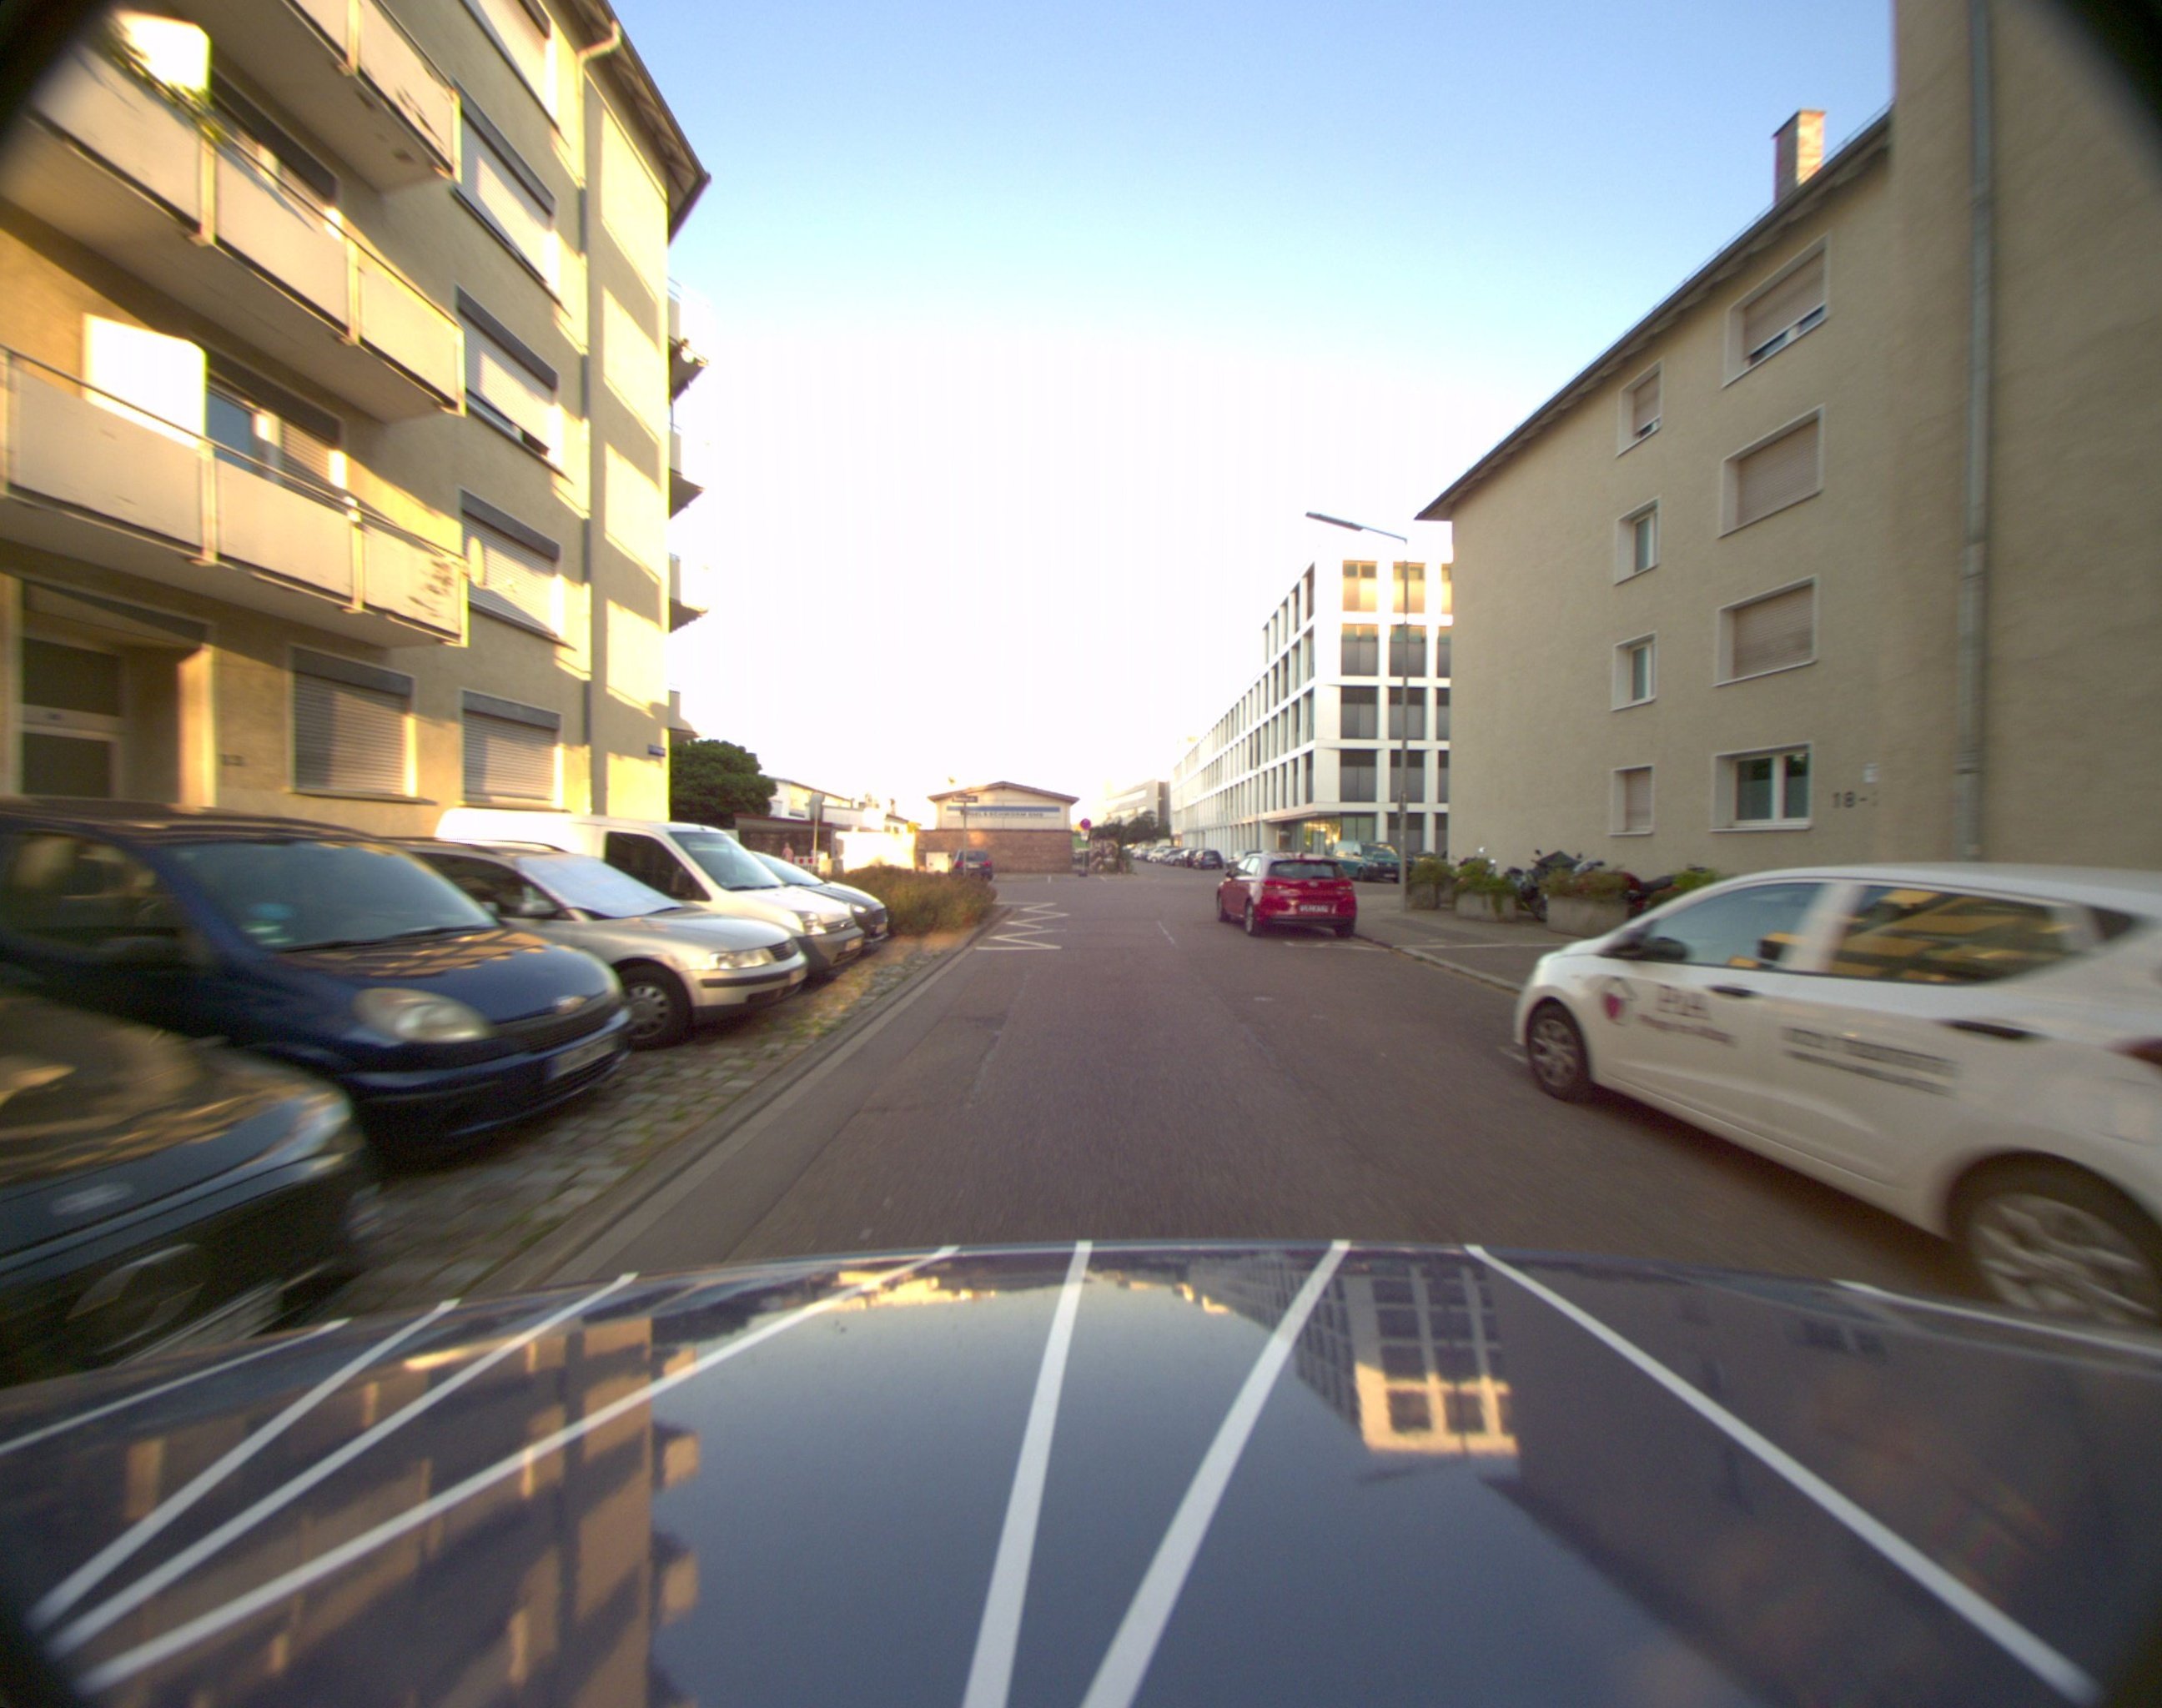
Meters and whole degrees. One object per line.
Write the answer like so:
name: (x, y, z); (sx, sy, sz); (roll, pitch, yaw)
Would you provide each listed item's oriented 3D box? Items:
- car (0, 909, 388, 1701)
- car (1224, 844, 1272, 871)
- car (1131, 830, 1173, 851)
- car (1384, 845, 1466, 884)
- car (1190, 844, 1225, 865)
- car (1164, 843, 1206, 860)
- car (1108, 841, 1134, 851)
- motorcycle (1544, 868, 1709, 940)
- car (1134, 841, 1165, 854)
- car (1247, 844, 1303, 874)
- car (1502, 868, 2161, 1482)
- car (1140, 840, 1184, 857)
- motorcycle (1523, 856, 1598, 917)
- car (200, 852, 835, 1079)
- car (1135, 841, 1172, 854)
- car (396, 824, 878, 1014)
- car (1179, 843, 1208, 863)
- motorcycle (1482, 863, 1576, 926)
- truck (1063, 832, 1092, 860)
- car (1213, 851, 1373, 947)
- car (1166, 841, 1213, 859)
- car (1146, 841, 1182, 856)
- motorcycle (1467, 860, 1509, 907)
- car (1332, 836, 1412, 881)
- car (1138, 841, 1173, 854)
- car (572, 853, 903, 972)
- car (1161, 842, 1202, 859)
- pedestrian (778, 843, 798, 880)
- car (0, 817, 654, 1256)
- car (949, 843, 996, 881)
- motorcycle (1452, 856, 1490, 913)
car: (-4.262, 0.872, 1.499); (4.319, 1.441, 1.655); (2, 2, 1)
car: (10.252, 0.158, 46.953); (1.715, 1.470, 4.182); (-3, 1, -5)
car: (9.337, -1.807, 99.903); (5.394, 2.618, 2.078); (-1, 1, 1)
car: (16.191, 0.431, 36.011); (1.784, 1.541, 4.327); (0, 3, -2)
car: (9.358, 0.021, 56.537); (1.652, 1.430, 4.182); (-3, 1, -3)
car: (9.457, -0.271, 69.224); (3.664, 1.502, 1.687); (-1, 1, 0)
car: (8.107, -1.630, 154.694); (5.084, 1.870, 1.888); (-1, 1, -7)
motorcycle: (8.896, 0.798, 12.460); (2.127, 1.099, 0.561); (1, 2, 12)
car: (8.558, -0.803, 95.324); (3.717, 1.487, 1.707); (-1, 1, -1)
car: (10.456, 0.237, 41.348); (1.784, 1.470, 4.329); (-1, 1, -2)
car: (3.621, 0.890, 3.250); (1.620, 1.465, 3.503); (2, 1, 0)
car: (8.687, -0.576, 81.560); (4.629, 1.696, 2.004); (-1, 1, 3)
motorcycle: (10.850, 0.702, 17.286); (0.724, 1.257, 2.082); (1, 1, 12)
car: (-4.302, 0.788, 6.264); (3.965, 1.513, 1.705); (1, 1, 1)
car: (8.843, -0.831, 92.645); (4.318, 1.487, 1.794); (-1, 1, 1)
car: (-4.630, 0.618, 8.392); (4.290, 1.850, 1.741); (0, 2, 1)
car: (9.257, -0.123, 62.642); (1.652, 1.430, 4.200); (-3, 1, -1)
motorcycle: (8.641, 0.751, 14.770); (0.683, 1.073, 2.034); (0, 1, 2)
truck: (-0.319, -0.604, 62.014); (2.103, 2.187, 5.709); (1, 0, -2)
car: (3.801, 0.726, 14.417); (1.850, 1.465, 4.077); (1, 1, 0)
car: (9.487, -0.337, 66.541); (3.936, 1.502, 1.687); (-1, 1, 1)
car: (8.580, -0.526, 78.978); (3.675, 1.502, 1.696); (-1, 1, 3)
motorcycle: (10.417, 0.719, 19.504); (0.724, 1.073, 2.084); (1, 2, 22)
car: (13.719, 0.138, 36.193); (1.803, 1.969, 4.686); (0, 2, -3)
car: (8.583, -0.767, 87.583); (3.791, 1.513, 1.693); (-1, 1, -2)
car: (-4.684, 0.758, 10.761); (3.881, 1.484, 1.741); (0, 2, 1)
car: (9.451, -0.337, 71.494); (3.664, 1.502, 1.687); (-1, 1, 0)
pedestrian: (-12.975, 0.331, 33.659); (0.787, 1.655, 0.628); (0, 0, -23)
car: (-4.583, 0.707, 3.935); (3.800, 1.686, 1.655); (2, 2, 1)
car: (-5.140, 0.311, 35.470); (1.833, 1.523, 4.721); (0, 3, -12)
motorcycle: (8.767, 0.653, 17.140); (0.689, 1.154, 2.037); (1, 2, 25)
